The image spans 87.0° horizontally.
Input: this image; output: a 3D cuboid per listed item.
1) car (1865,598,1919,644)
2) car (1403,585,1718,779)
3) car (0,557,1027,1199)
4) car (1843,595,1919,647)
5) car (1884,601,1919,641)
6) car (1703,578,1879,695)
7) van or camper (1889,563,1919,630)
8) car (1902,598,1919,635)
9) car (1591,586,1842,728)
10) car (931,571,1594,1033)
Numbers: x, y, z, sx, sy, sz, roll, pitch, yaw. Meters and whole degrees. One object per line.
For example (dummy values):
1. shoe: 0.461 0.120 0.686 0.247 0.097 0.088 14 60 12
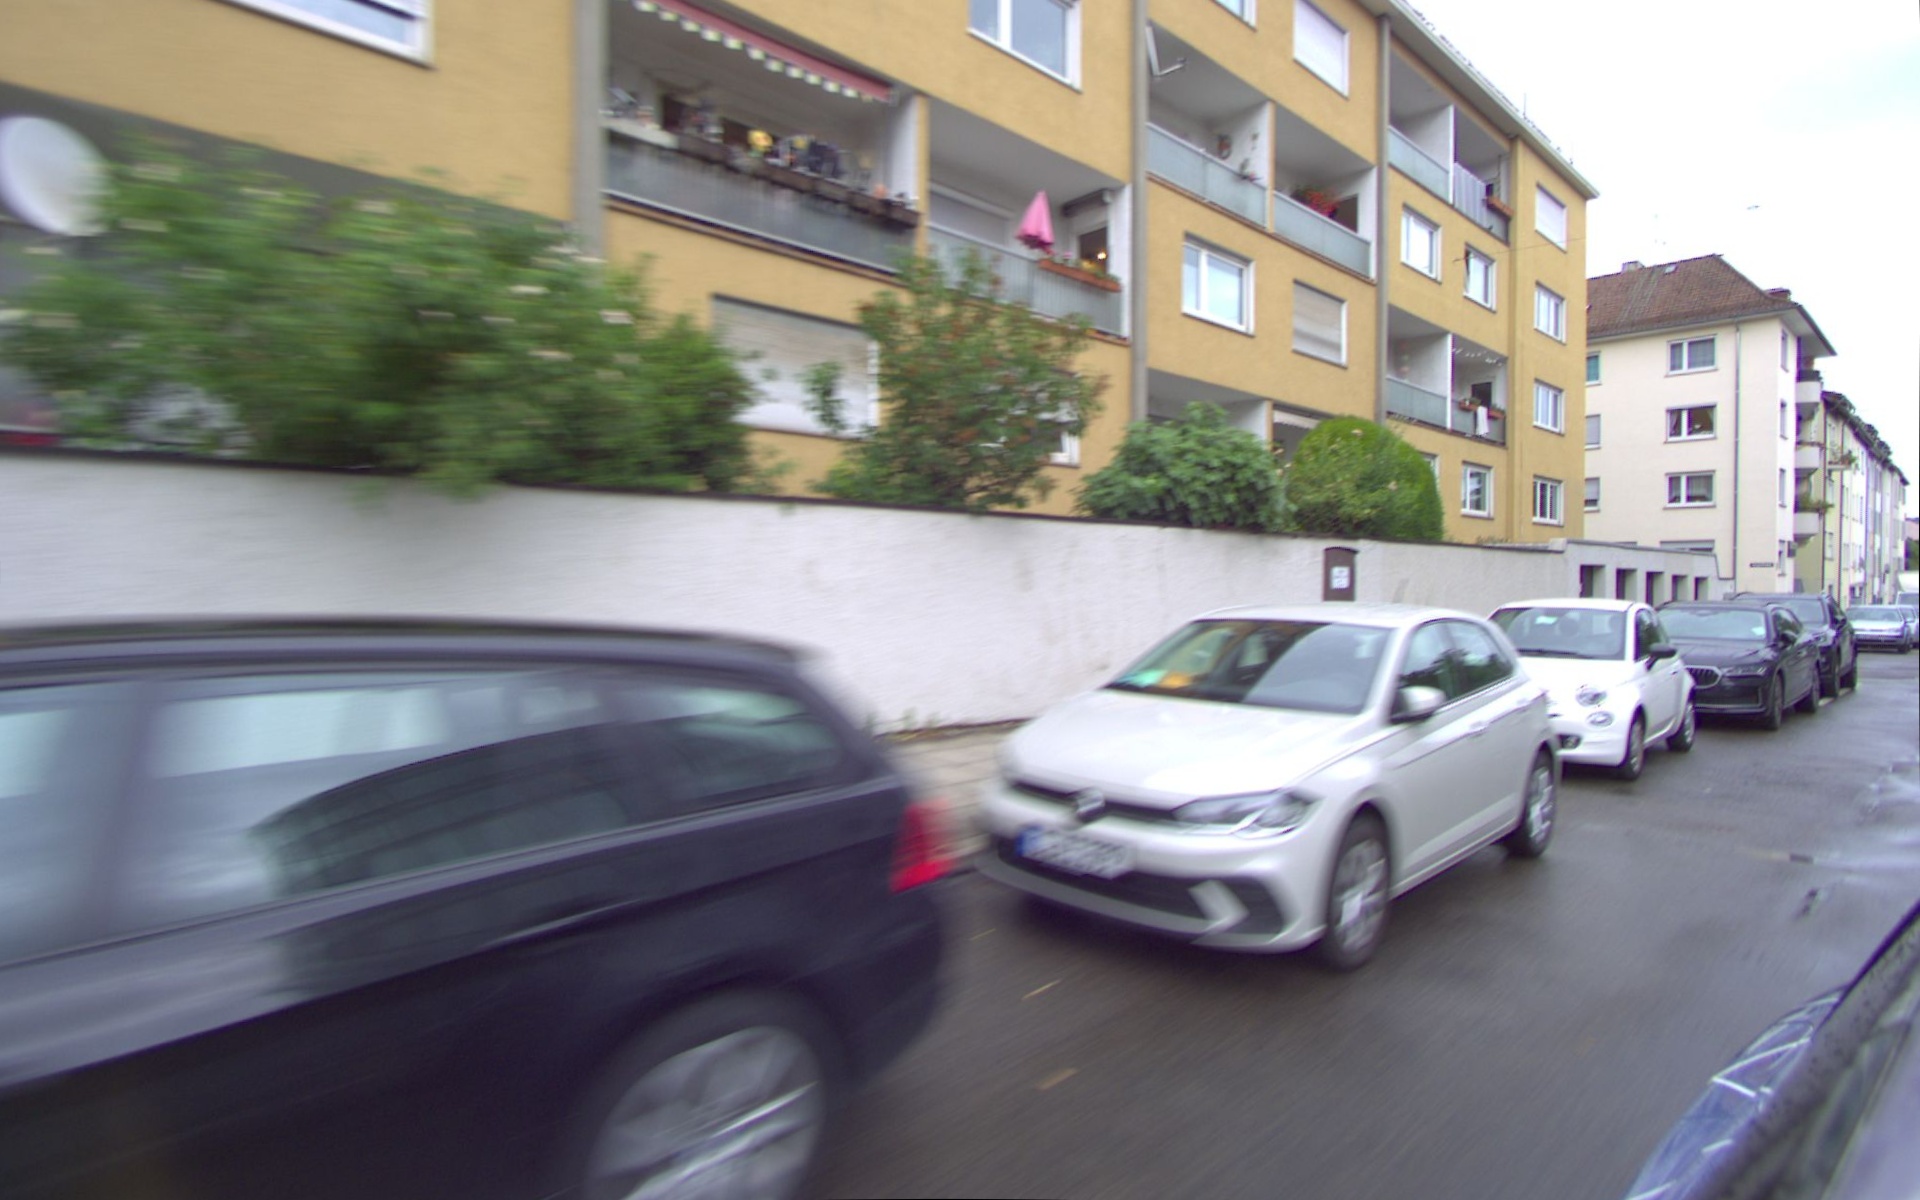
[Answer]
1. car: 32.457 0.689 34.767 3.906 1.395 1.737 -2 2 -44
2. car: 5.747 0.611 9.527 3.495 1.472 1.687 0 0 -44
3. car: -2.010 0.689 1.765 4.405 1.478 1.731 -2 1 -44
4. car: 28.483 0.585 31.092 3.776 1.395 1.737 -2 2 -44
5. car: 37.864 0.814 40.016 3.447 1.449 1.737 -2 1 -44
6. car: 14.192 0.501 17.185 4.501 1.667 1.803 -2 2 -44
7. van or camper: 46.770 -0.249 48.527 6.912 3.096 2.750 -2 2 -43
8. car: 41.202 0.687 42.844 3.447 1.449 1.737 -2 1 -44
9. car: 9.862 0.583 13.052 4.378 1.444 1.912 -2 1 -44
10. car: 1.876 0.618 5.337 1.648 1.478 4.037 0 1 45
